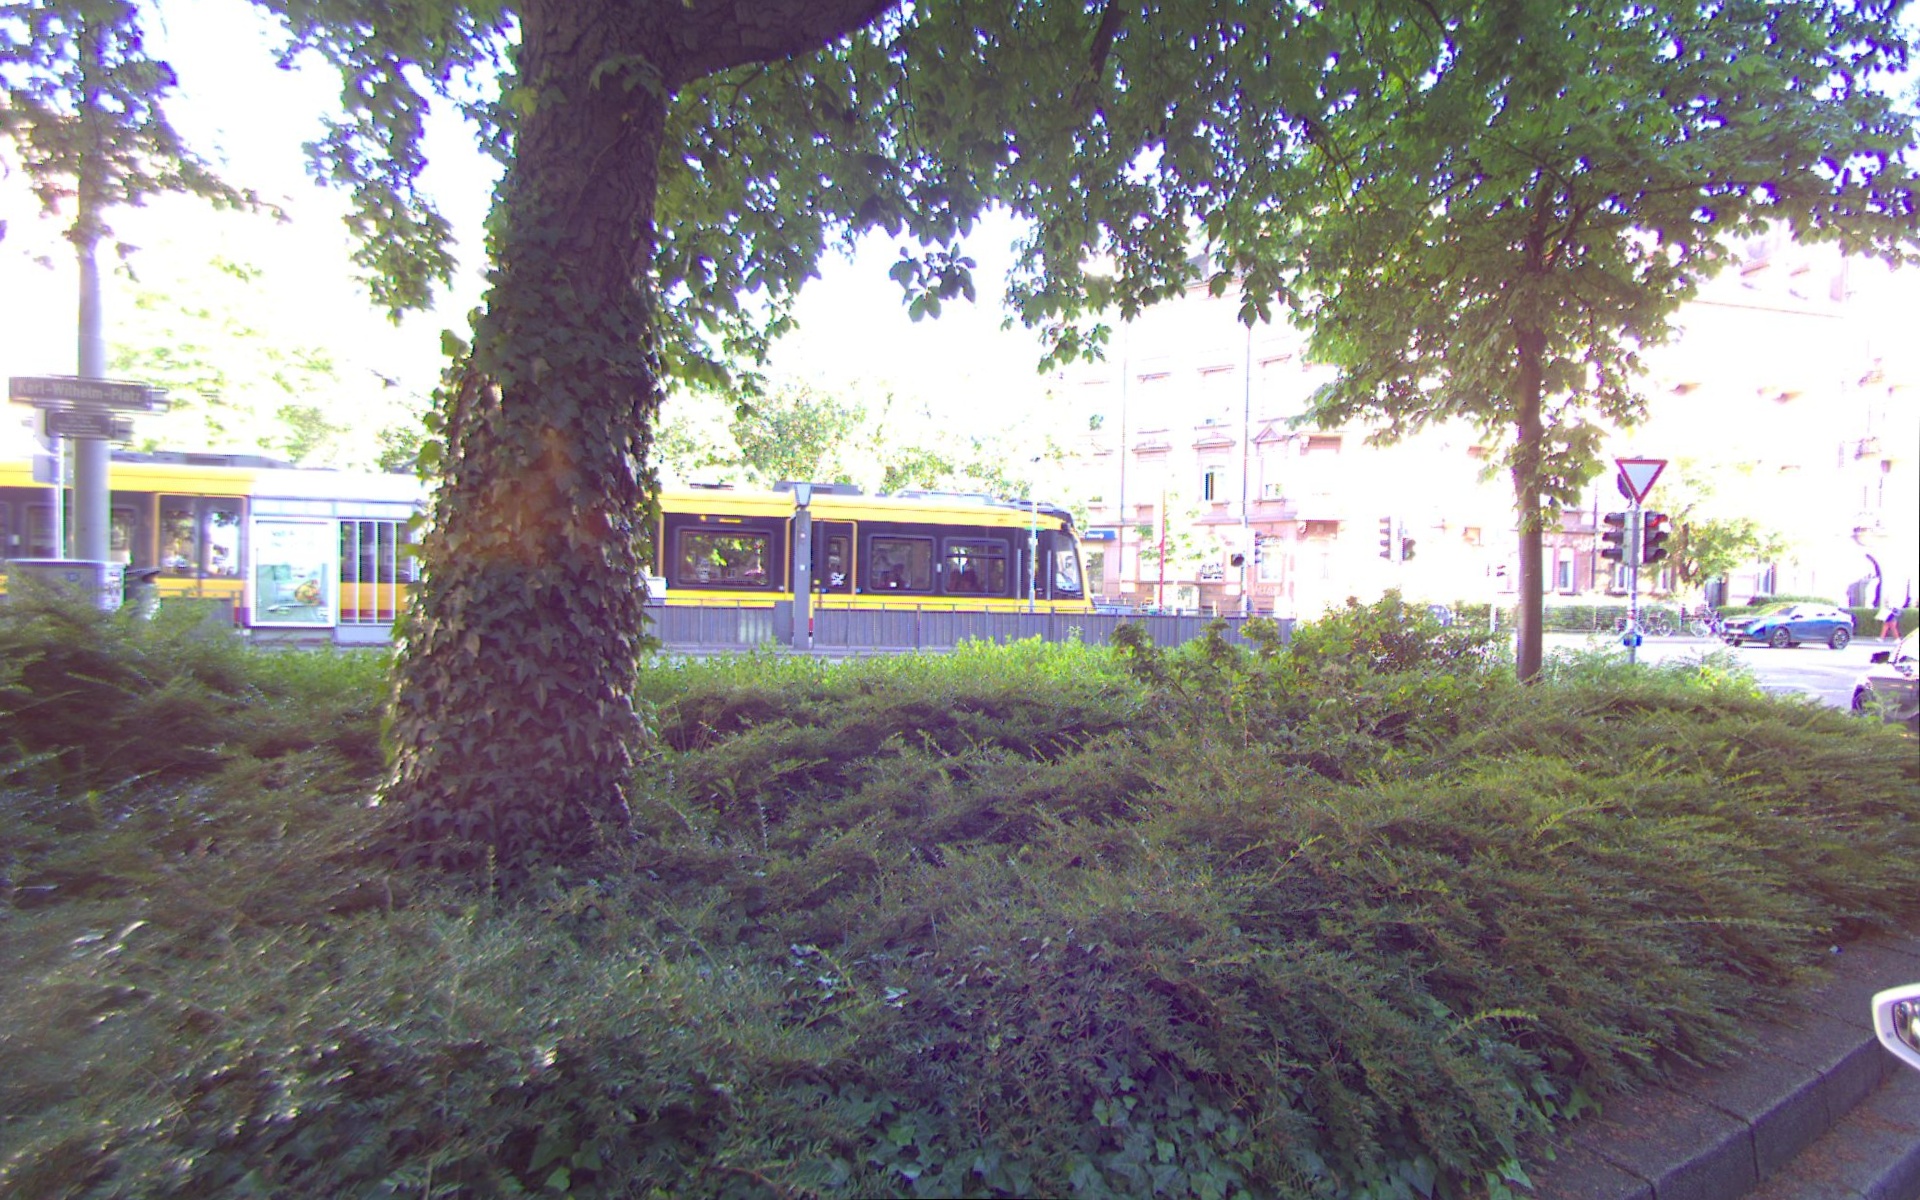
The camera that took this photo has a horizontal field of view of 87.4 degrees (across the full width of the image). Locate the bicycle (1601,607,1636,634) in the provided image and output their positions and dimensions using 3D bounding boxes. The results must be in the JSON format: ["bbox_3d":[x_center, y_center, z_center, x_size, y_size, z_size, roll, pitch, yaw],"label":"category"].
[{"bbox_3d":[27.681,0.864,42.231,1.210,1.122,0.442,1,2,-7],"label":"bicycle"}]

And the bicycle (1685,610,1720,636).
[{"bbox_3d":[31.600,0.979,42.766,1.211,1.052,0.442,1,2,-8],"label":"bicycle"}]

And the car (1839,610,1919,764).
[{"bbox_3d":[10.786,0.886,10.278,1.762,1.562,3.855,0,0,27],"label":"car"}]

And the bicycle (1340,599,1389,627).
[{"bbox_3d":[17.591,0.562,43.732,1.928,1.122,0.443,3,2,22],"label":"bicycle"}]

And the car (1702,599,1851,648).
[{"bbox_3d":[29.946,0.852,36.873,4.333,1.672,1.944,1,1,-12],"label":"car"}]

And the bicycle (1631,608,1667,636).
[{"bbox_3d":[29.071,0.933,42.376,1.210,1.122,0.442,1,2,-7],"label":"bicycle"}]

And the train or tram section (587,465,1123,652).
[{"bbox_3d":[-2.245,-0.808,23.189,11.598,3.668,2.793,1,1,-13],"label":"train or tram section"}]

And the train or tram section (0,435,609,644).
[{"bbox_3d":[-13.787,-1.104,20.469,12.206,3.635,2.779,1,1,-13],"label":"train or tram section"}]
